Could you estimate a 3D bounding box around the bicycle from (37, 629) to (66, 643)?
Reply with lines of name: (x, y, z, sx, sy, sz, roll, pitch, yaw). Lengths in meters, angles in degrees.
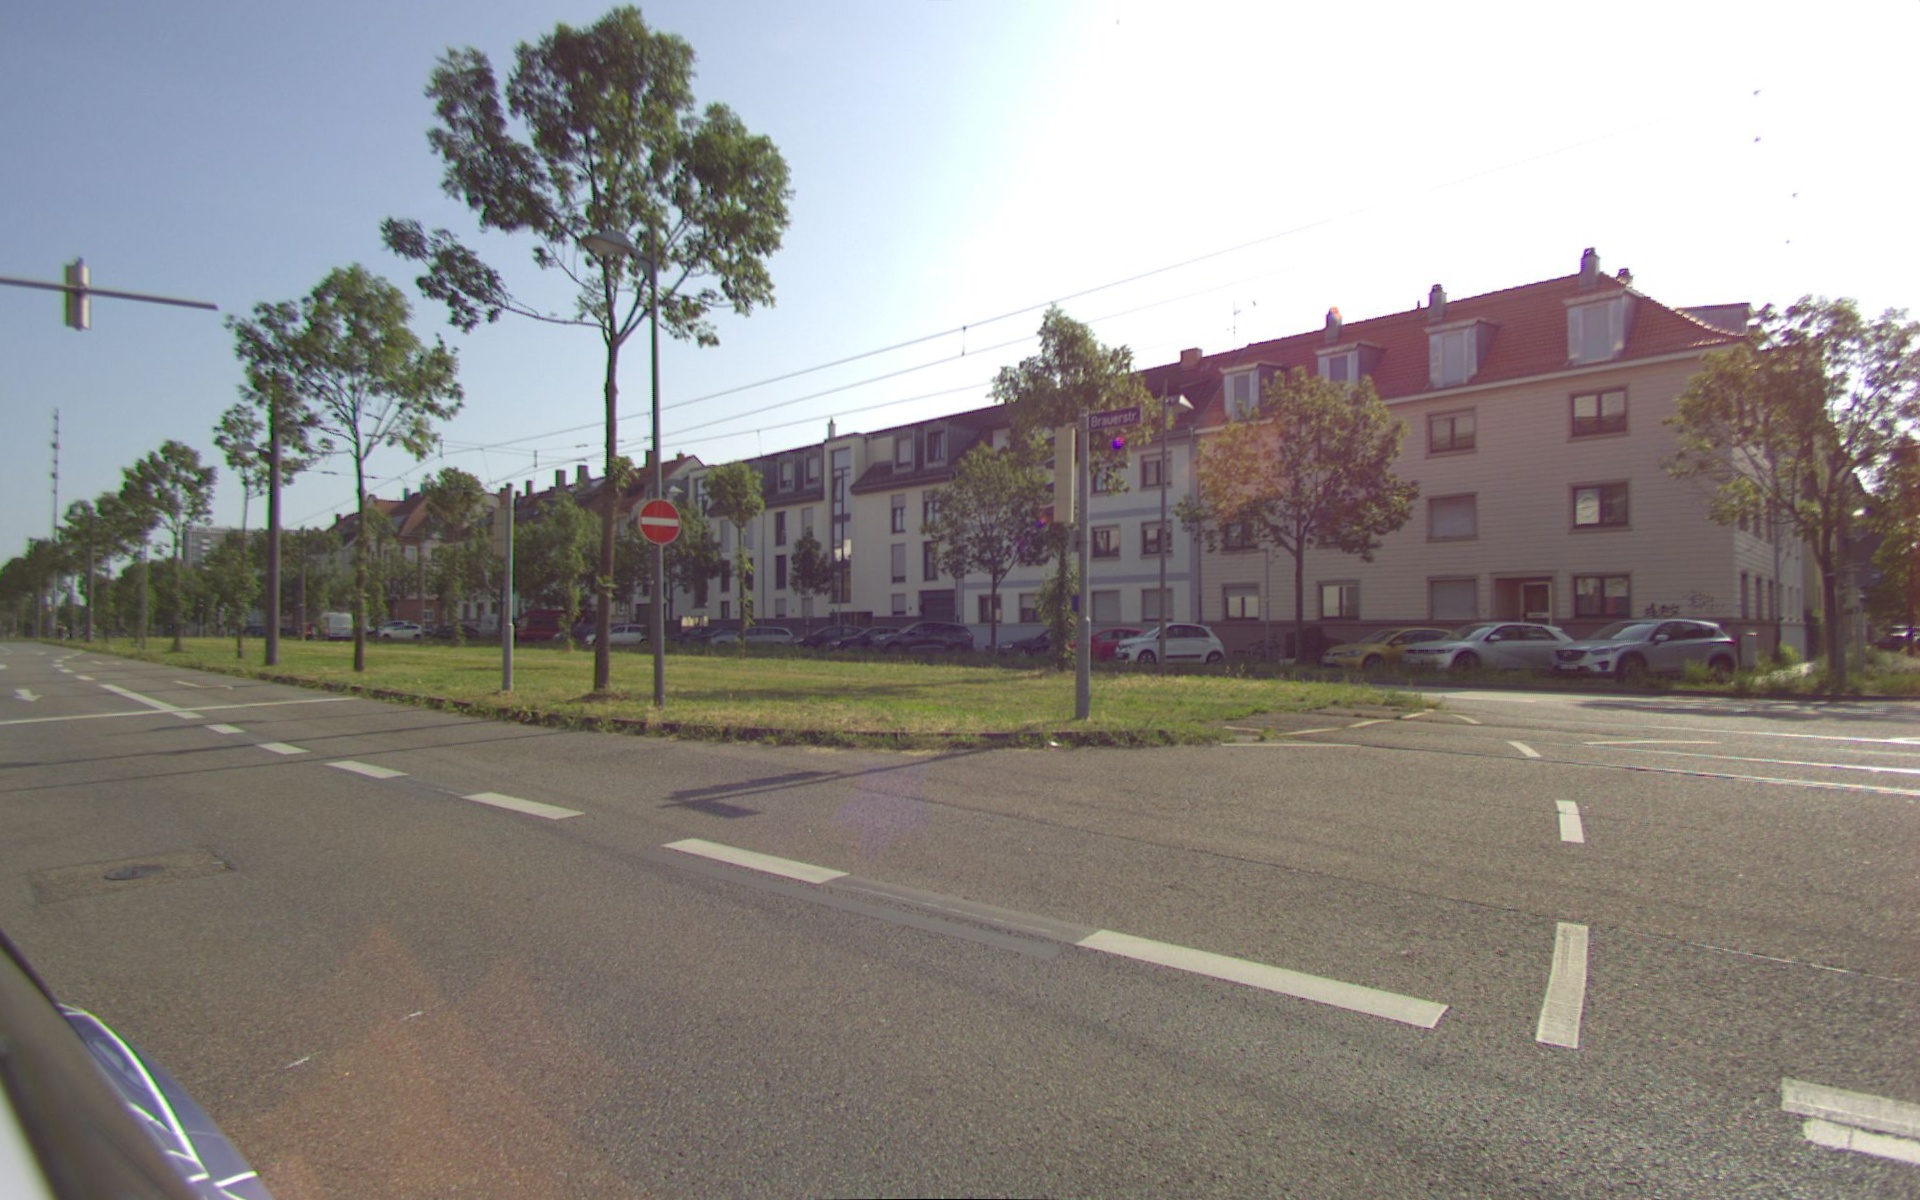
bicycle: (-75.641, 2.962, 84.279, 1.724, 1.154, 0.578, 1, -1, -36)

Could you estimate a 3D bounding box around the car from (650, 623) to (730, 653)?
car: (-14.376, 2.006, 53.819, 3.931, 1.386, 1.933, -1, 0, -18)

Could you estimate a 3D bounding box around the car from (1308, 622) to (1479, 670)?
car: (12.274, 1.285, 28.823, 3.939, 1.187, 2.002, -1, 0, -4)

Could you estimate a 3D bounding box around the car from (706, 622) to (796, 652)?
car: (-10.690, 1.869, 51.776, 4.265, 1.386, 2.006, -1, 0, -19)

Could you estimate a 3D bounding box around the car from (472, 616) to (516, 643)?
car: (-43.432, 2.777, 94.288, 1.970, 2.482, 5.582, 2, -3, -44)

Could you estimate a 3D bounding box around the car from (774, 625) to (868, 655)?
car: (-6.413, 1.831, 46.630, 3.931, 1.298, 2.006, 1, -2, -20)

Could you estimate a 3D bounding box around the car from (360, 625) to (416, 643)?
car: (-52.237, 3.112, 92.503, 4.034, 1.541, 1.816, -1, 0, -8)

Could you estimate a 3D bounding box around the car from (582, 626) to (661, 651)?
car: (-20.268, 2.321, 60.797, 4.326, 1.330, 1.738, -1, 0, -13)

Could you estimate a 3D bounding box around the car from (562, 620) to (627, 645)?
car: (-22.758, 2.010, 63.109, 3.660, 1.445, 1.646, -1, 0, -13)

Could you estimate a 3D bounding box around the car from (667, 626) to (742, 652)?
car: (-14.256, 2.169, 56.414, 3.931, 1.386, 1.841, 1, -2, -18)

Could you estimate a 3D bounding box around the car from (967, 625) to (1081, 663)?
car: (2.377, 1.640, 37.955, 3.934, 1.244, 1.703, -1, 0, -12)

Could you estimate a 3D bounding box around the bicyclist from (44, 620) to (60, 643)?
bicyclist: (-75.620, 2.630, 84.305, 0.856, 1.836, 0.910, 1, -2, -35)

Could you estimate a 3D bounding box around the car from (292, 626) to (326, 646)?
car: (-59.875, 3.330, 93.105, 1.794, 1.751, 4.164, 3, -3, -44)

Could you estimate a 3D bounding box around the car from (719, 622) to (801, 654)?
car: (-9.750, 1.838, 49.332, 3.715, 1.386, 1.670, -1, 0, -19)

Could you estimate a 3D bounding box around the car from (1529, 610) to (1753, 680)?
car: (16.226, 1.028, 24.204, 4.281, 1.474, 1.968, -1, 0, -12)

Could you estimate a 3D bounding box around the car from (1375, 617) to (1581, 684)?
car: (13.482, 1.267, 26.469, 4.393, 1.526, 2.004, -1, 0, -9)

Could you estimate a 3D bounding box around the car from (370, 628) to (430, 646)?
car: (-50.030, 3.309, 90.528, 4.297, 1.486, 1.861, -1, 0, -8)

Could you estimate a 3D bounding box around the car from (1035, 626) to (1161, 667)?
car: (4.805, 1.608, 35.544, 3.934, 1.268, 1.880, -1, 0, -13)

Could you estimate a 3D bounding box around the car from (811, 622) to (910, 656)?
car: (-4.377, 1.691, 44.432, 3.931, 1.298, 2.006, -1, 0, -20)

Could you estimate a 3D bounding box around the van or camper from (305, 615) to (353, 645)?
van or camper: (-54.812, 2.649, 87.887, 6.061, 2.493, 2.117, -2, -4, 44)

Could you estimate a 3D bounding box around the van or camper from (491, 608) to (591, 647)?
van or camper: (-29.029, 1.884, 70.300, 6.064, 2.566, 2.418, -1, -1, -8)

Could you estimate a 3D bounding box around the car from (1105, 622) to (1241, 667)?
car: (7.020, 1.443, 33.511, 3.932, 1.279, 1.892, -1, 0, -15)

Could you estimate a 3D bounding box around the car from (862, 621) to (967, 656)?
car: (-1.922, 1.591, 42.580, 3.990, 1.298, 2.006, -1, 0, -18)
